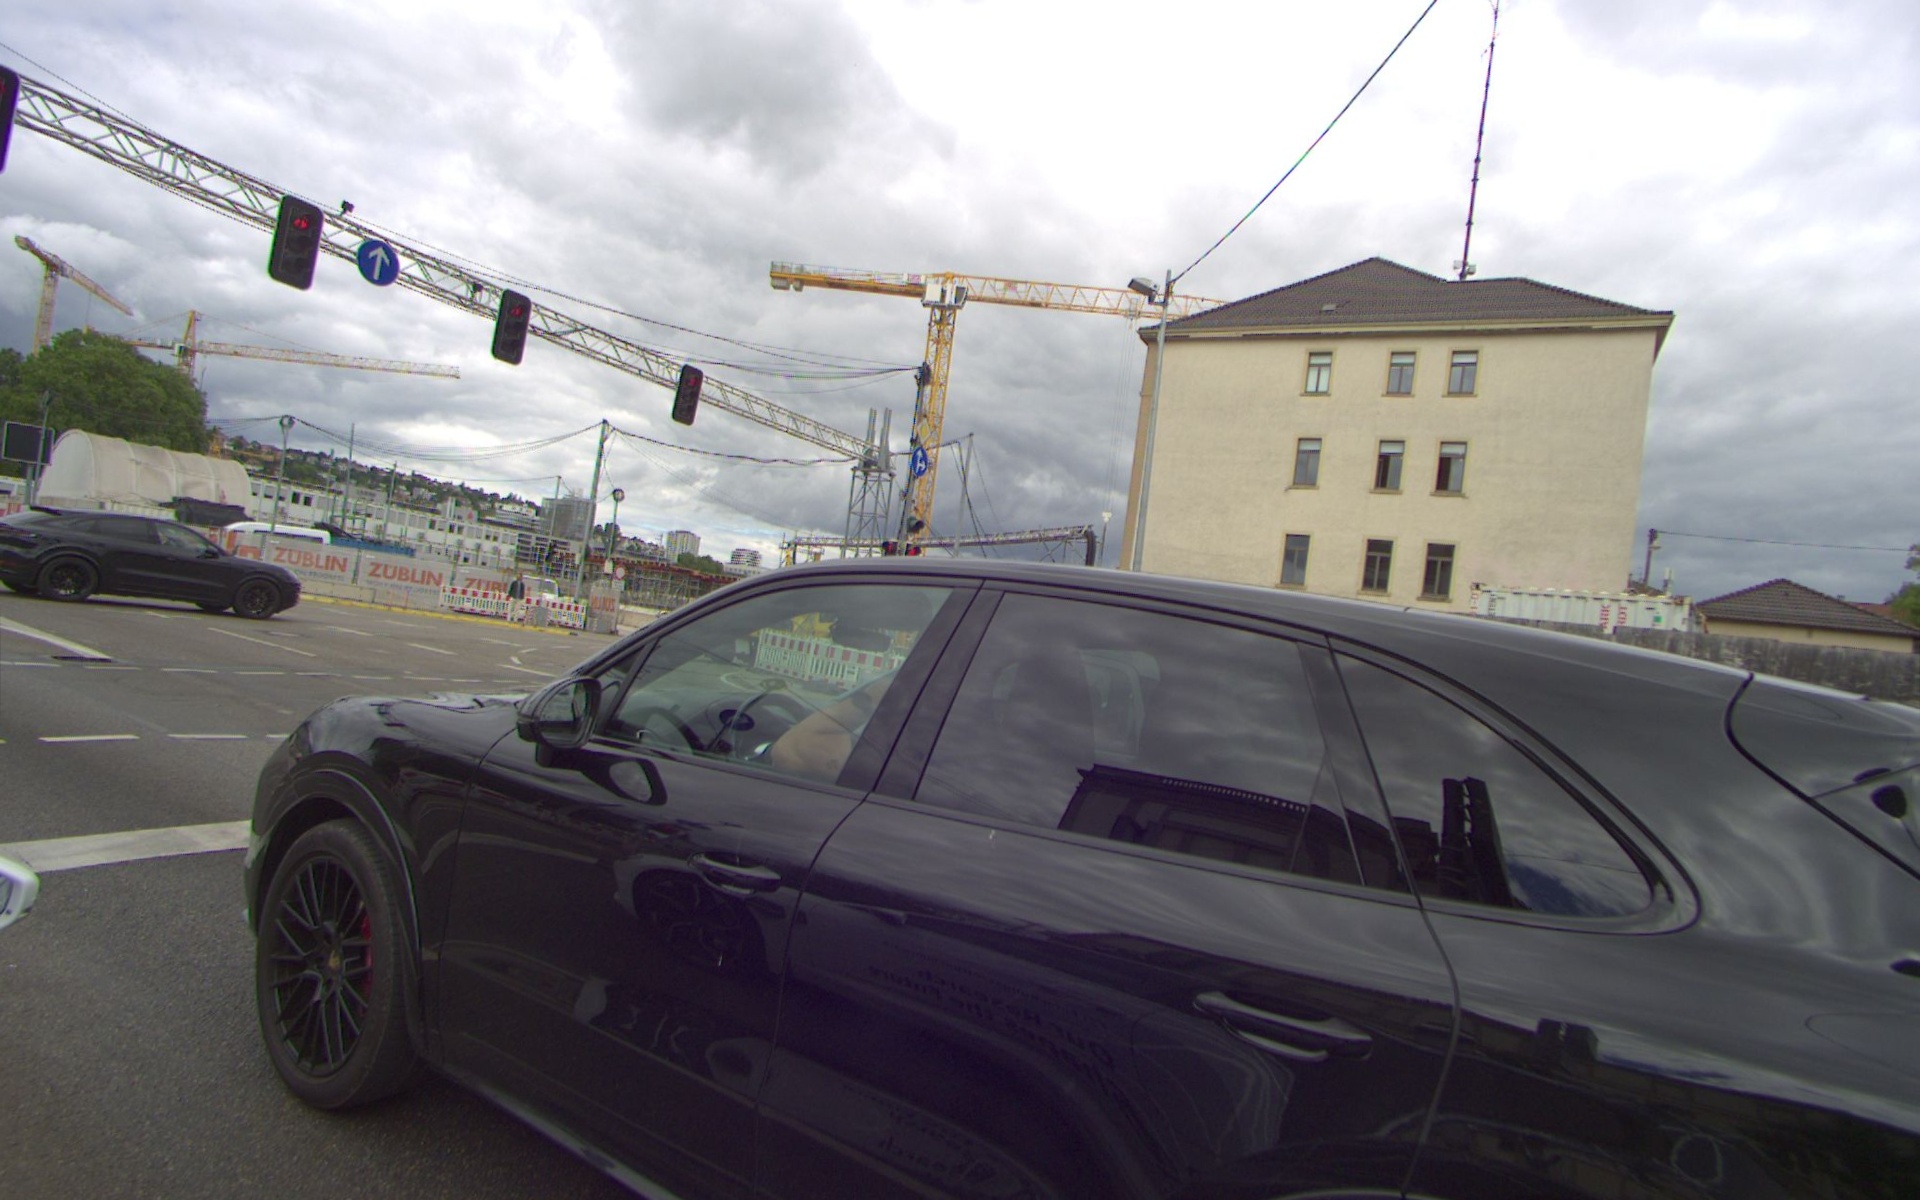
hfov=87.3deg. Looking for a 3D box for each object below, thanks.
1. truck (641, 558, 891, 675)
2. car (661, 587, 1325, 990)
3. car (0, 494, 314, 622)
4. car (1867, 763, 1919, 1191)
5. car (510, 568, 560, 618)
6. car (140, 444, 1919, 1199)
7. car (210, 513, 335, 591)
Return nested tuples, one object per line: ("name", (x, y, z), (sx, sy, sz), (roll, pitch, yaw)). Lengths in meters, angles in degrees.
("truck", (-6.116, 0.735, 33.706), (2.583, 2.835, 9.001), (7, -2, 32))
("car", (0.119, 0.986, 6.663), (3.934, 1.644, 1.679), (6, -2, 32))
("car", (-15.001, -0.717, 18.433), (1.988, 1.643, 4.816), (6, -2, 33))
("car", (5.771, 1.688, 2.569), (4.729, 1.644, 1.828), (6, -2, 32))
("car", (-19.160, -0.321, 45.296), (1.757, 1.976, 3.108), (8, -2, -25))
("car", (-0.043, 0.680, 2.666), (4.410, 1.735, 1.828), (6, -2, 32))
("car", (-29.570, -2.039, 43.368), (1.660, 2.692, 3.979), (6, -2, 45))
